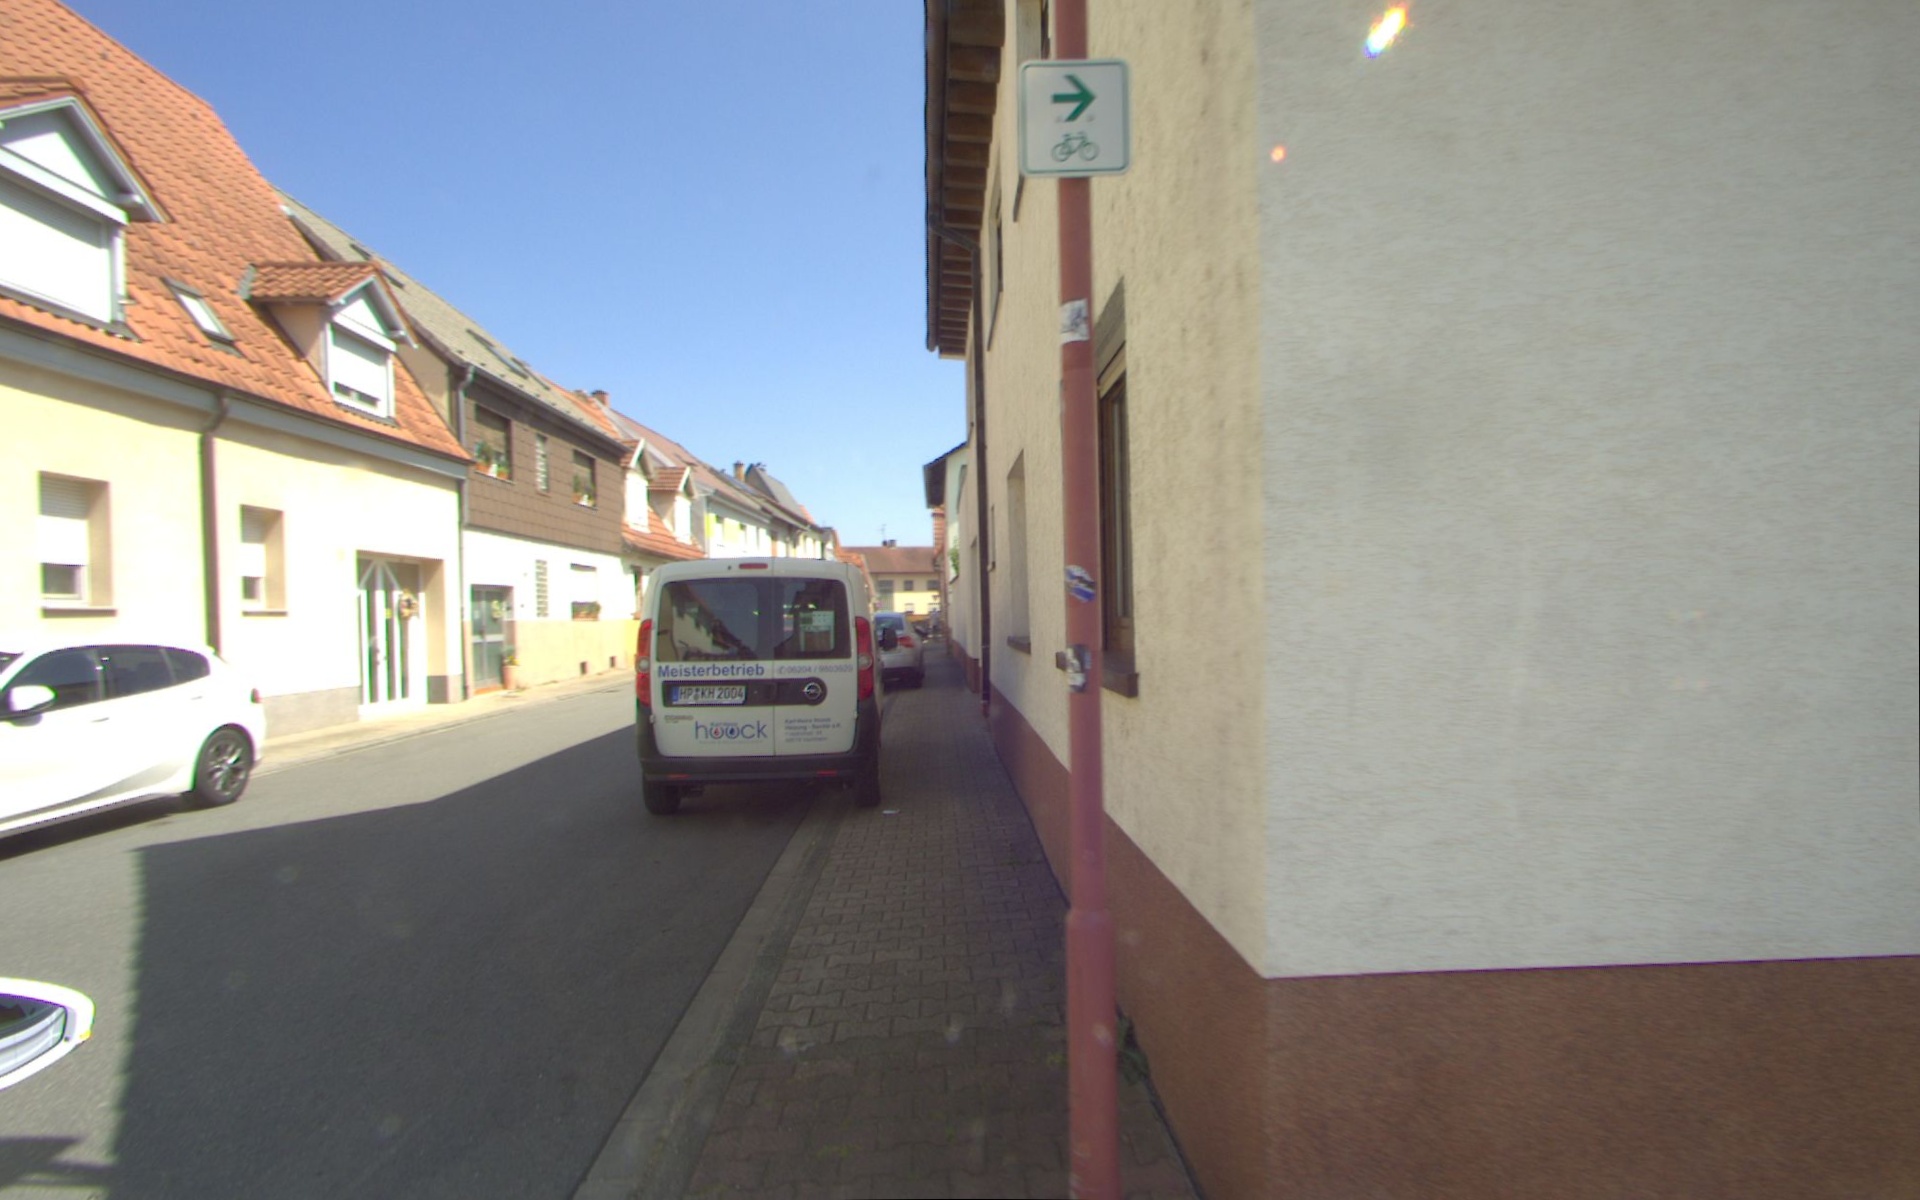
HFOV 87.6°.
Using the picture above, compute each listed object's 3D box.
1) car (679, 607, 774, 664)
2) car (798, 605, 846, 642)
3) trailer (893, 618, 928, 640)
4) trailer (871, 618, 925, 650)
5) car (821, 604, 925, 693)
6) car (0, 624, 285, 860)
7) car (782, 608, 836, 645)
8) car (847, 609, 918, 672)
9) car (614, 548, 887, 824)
[{"bbox_3d":[-7.095,1.046,30.891,1.770,1.594,4.615,-2,-1,0],"label":"car"},{"bbox_3d":[-6.983,1.184,50.991,1.771,1.726,4.488,-3,-1,-1],"label":"car"},{"bbox_3d":[-2.553,1.497,52.646,1.672,1.047,3.481,-1,0,-1],"label":"trailer"},{"bbox_3d":[-2.314,1.259,37.982,1.788,1.104,3.481,-1,0,0],"label":"trailer"},{"bbox_3d":[-1.663,0.913,20.571,1.762,1.500,4.934,-3,-1,-2],"label":"car"},{"bbox_3d":[-6.987,0.951,6.942,1.753,1.473,4.216,-2,-1,-1],"label":"car"},{"bbox_3d":[-6.496,1.142,43.384,1.771,1.459,4.488,-2,-1,-2],"label":"car"},{"bbox_3d":[-1.939,0.996,25.854,1.622,1.455,4.134,-2,-1,-3],"label":"car"},{"bbox_3d":[-1.585,0.625,9.196,1.780,1.848,4.850,0,-1,-4],"label":"car"}]
